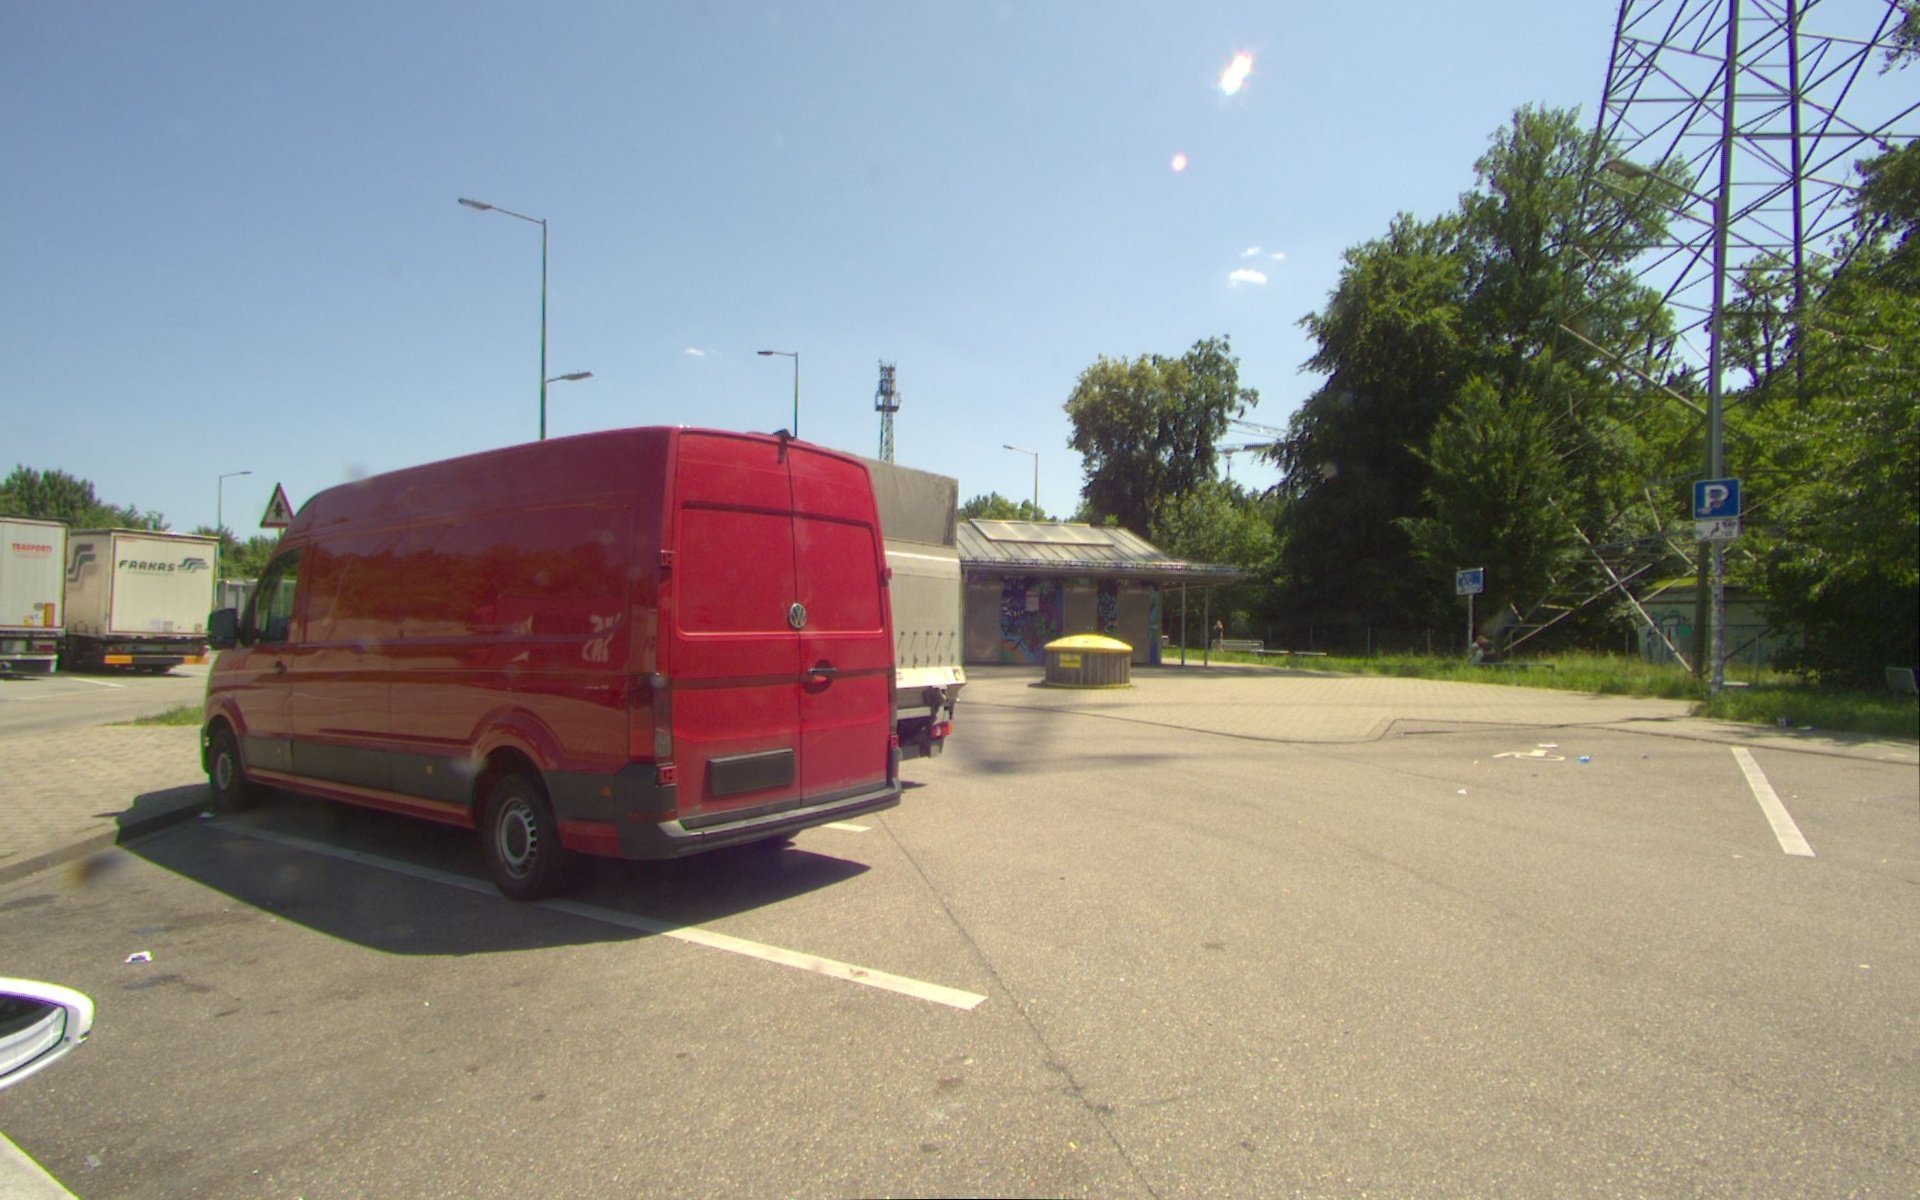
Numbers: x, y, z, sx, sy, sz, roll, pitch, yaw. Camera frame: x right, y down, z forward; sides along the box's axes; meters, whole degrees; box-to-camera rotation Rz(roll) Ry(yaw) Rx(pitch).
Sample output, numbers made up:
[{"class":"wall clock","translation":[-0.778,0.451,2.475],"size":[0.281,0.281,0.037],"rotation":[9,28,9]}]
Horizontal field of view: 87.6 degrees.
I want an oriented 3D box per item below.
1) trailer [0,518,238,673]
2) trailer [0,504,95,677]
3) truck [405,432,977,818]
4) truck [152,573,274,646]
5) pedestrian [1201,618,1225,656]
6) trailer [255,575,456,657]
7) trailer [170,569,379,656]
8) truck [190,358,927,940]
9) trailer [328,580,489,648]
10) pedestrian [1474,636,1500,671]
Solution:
[{"class":"trailer","translation":[-27.624,-0.171,31.611],"size":[13.561,4.162,2.854],"rotation":[1,-2,32]},{"class":"trailer","translation":[-28.697,-0.343,28.023],"size":[13.561,4.162,2.854],"rotation":[1,-2,32]},{"class":"truck","translation":[-3.093,0.271,10.527],"size":[6.372,2.944,2.411],"rotation":[-1,-2,37]},{"class":"truck","translation":[-37.561,0.469,50.323],"size":[5.887,3.406,2.862],"rotation":[1,-2,32]},{"class":"pedestrian","translation":[11.122,1.633,43.973],"size":[0.903,1.639,0.814],"rotation":[0,-1,5]},{"class":"trailer","translation":[-30.888,0.702,50.781],"size":[13.561,3.646,2.854],"rotation":[1,-2,32]},{"class":"trailer","translation":[-32.489,0.479,47.100],"size":[13.561,3.646,2.854],"rotation":[1,-2,32]},{"class":"truck","translation":[-3.343,0.300,7.343],"size":[6.372,2.685,2.005],"rotation":[-1,-2,37]},{"class":"trailer","translation":[-36.185,0.835,65.338],"size":[13.561,3.955,2.854],"rotation":[1,-2,32]},{"class":"pedestrian","translation":[14.634,1.482,27.826],"size":[0.439,0.987,0.460],"rotation":[0,-1,-19]}]
